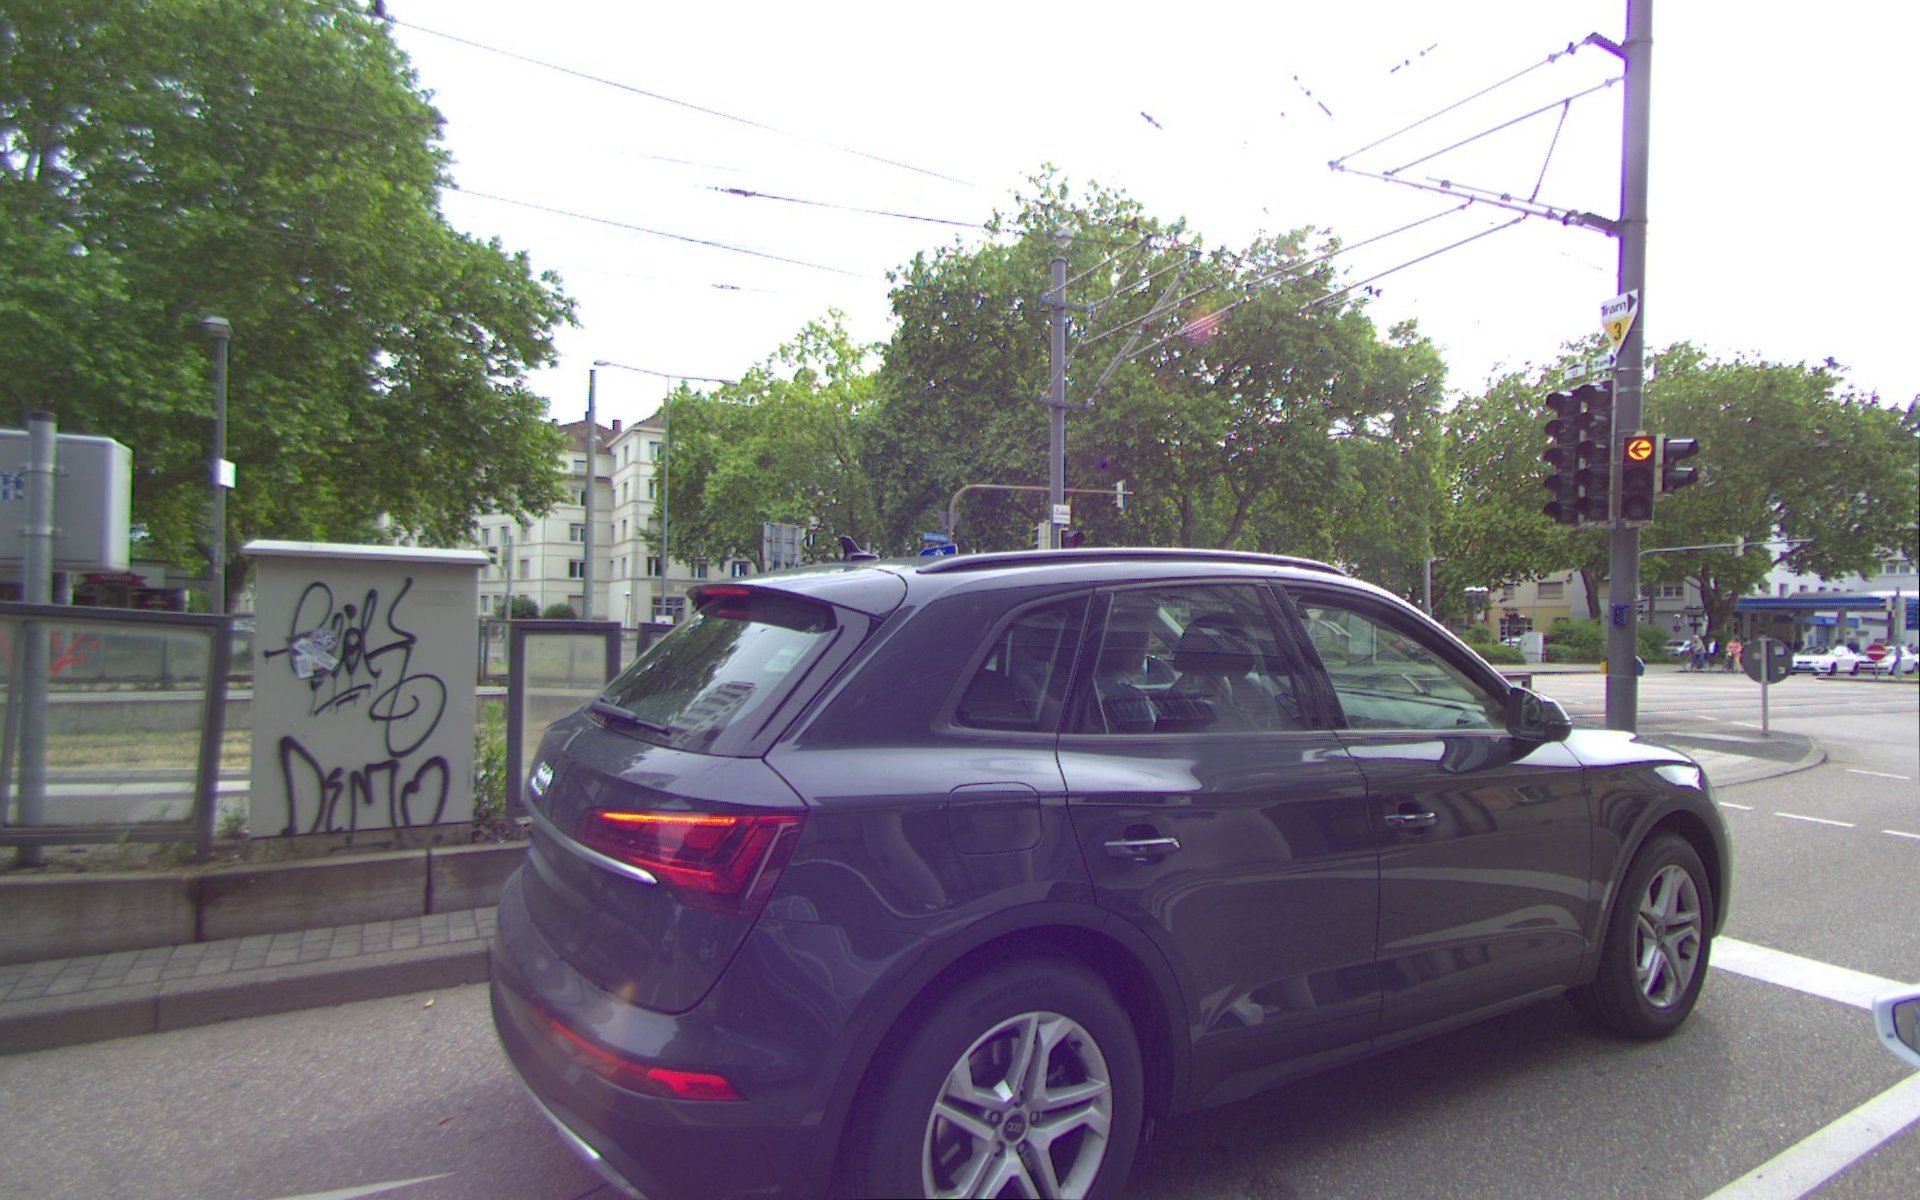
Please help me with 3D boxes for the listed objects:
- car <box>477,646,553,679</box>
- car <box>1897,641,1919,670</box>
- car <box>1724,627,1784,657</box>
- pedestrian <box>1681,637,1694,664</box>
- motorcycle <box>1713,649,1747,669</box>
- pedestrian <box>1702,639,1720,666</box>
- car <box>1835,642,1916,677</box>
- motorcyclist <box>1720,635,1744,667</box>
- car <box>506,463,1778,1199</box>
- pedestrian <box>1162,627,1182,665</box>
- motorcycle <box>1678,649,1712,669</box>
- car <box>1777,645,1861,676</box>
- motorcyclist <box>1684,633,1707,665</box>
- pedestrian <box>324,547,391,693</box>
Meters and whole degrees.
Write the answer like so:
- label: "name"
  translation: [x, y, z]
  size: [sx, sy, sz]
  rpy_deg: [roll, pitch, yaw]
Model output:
- label: "car"
  translation: [-25.096, 3.491, 56.691]
  size: [3.929, 1.706, 1.996]
  rpy_deg: [0, -1, 31]
- label: "car"
  translation: [52.776, 3.039, 54.600]
  size: [3.593, 1.497, 1.649]
  rpy_deg: [2, 0, -29]
- label: "car"
  translation: [54.883, 2.897, 69.455]
  size: [3.953, 2.040, 1.984]
  rpy_deg: [2, -1, -30]
- label: "pedestrian"
  translation: [41.014, 2.834, 56.642]
  size: [0.421, 1.479, 0.474]
  rpy_deg: [2, -1, -30]
- label: "motorcycle"
  translation: [36.983, 2.831, 48.260]
  size: [1.928, 0.941, 0.604]
  rpy_deg: [2, -1, -30]
- label: "pedestrian"
  translation: [41.809, 2.907, 55.921]
  size: [0.550, 1.499, 0.644]
  rpy_deg: [2, -1, -30]
- label: "car"
  translation: [46.973, 3.027, 51.517]
  size: [3.953, 1.615, 1.984]
  rpy_deg: [2, 0, -30]
- label: "motorcyclist"
  translation: [37.222, 2.458, 48.420]
  size: [0.863, 1.540, 0.617]
  rpy_deg: [2, -1, -30]
- label: "car"
  translation: [0.822, 0.656, 3.454]
  size: [4.177, 1.658, 1.725]
  rpy_deg: [2, 0, -30]
- label: "pedestrian"
  translation: [8.607, 1.870, 40.794]
  size: [0.644, 1.530, 0.682]
  rpy_deg: [1, -1, 27]
- label: "motorcycle"
  translation: [35.904, 2.866, 49.064]
  size: [1.928, 0.941, 0.604]
  rpy_deg: [2, -1, -30]
- label: "car"
  translation: [41.345, 2.913, 48.316]
  size: [4.025, 1.338, 1.739]
  rpy_deg: [2, 0, -29]
- label: "motorcyclist"
  translation: [35.929, 2.410, 49.076]
  size: [0.863, 1.540, 0.617]
  rpy_deg: [2, -1, -30]
- label: "pedestrian"
  translation: [-7.576, 0.246, 12.662]
  size: [0.658, 1.773, 0.732]
  rpy_deg: [2, 0, -30]
